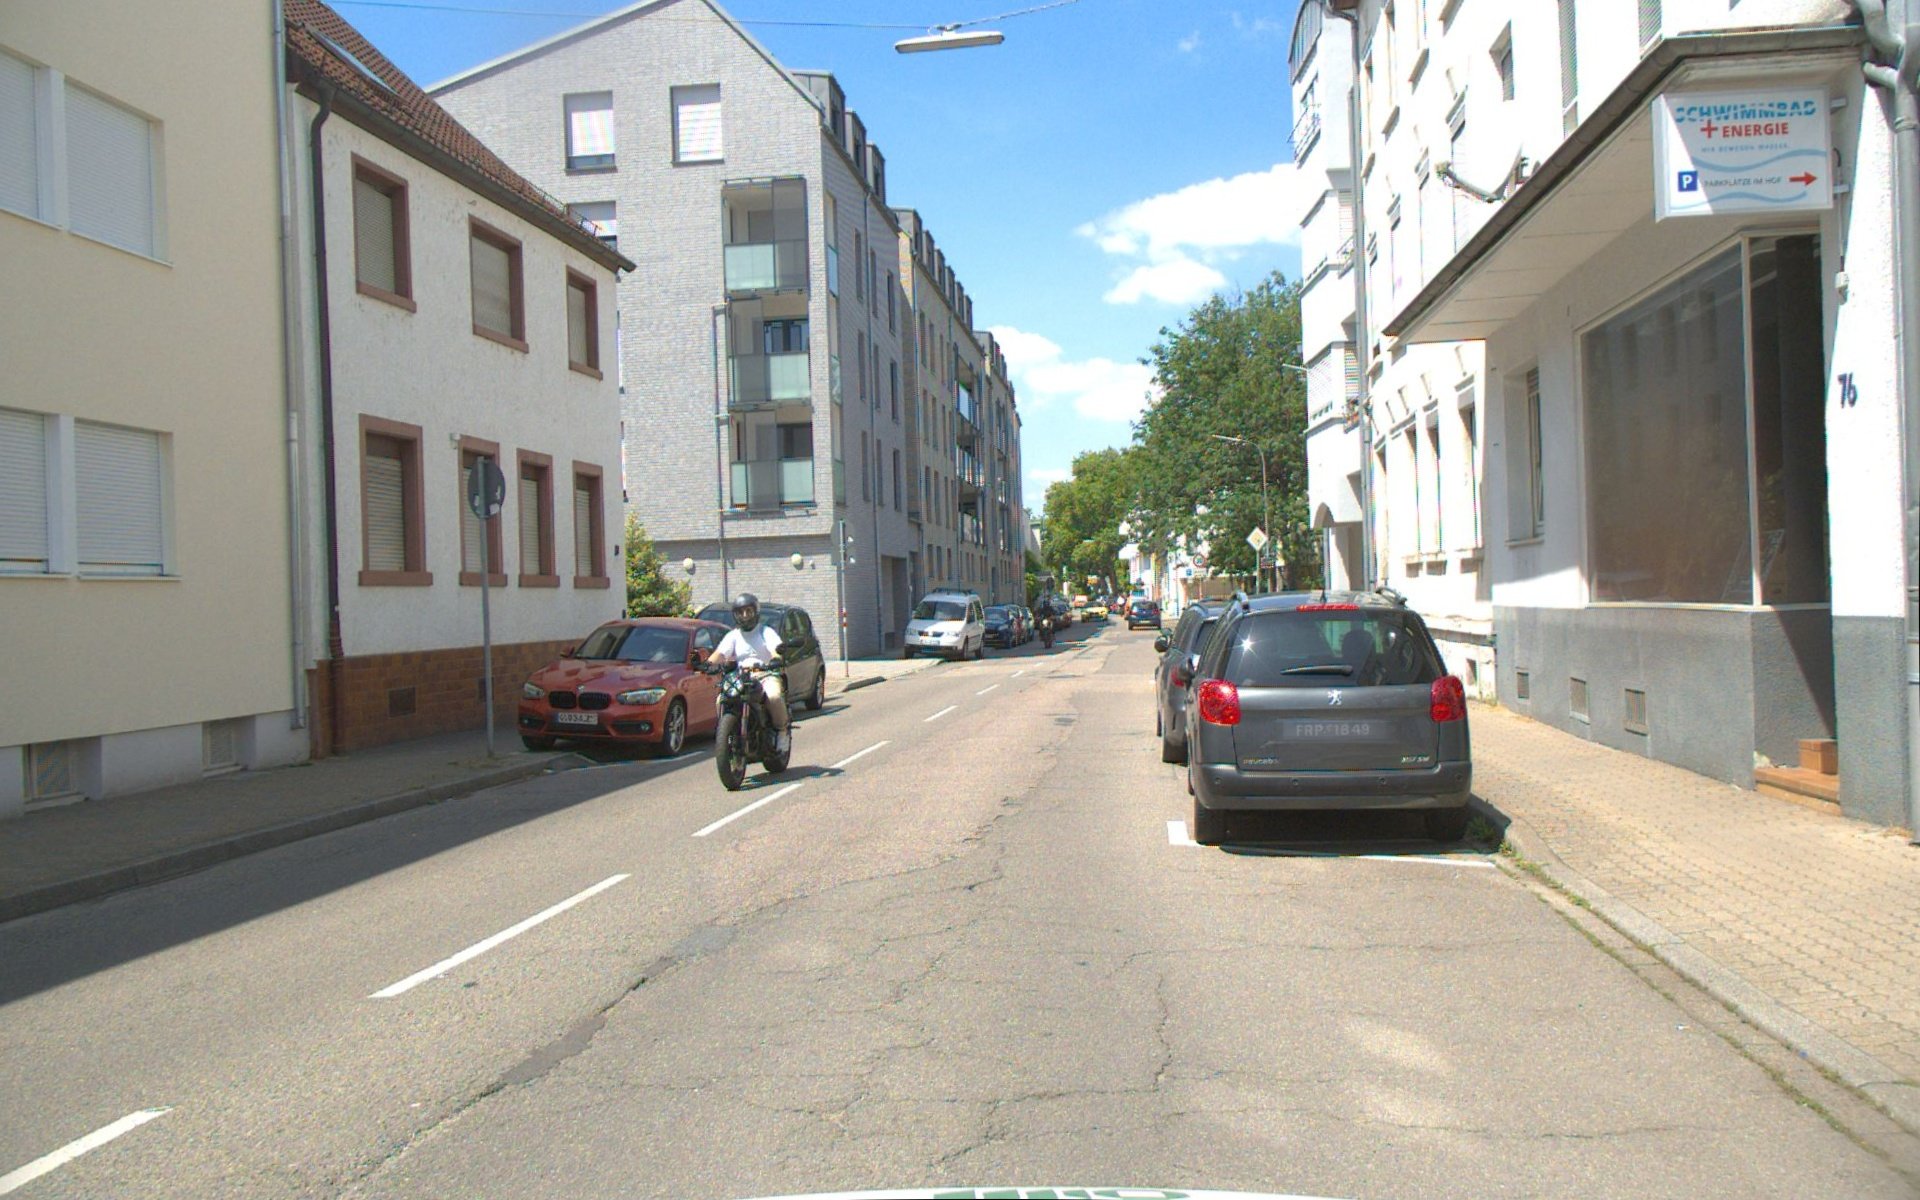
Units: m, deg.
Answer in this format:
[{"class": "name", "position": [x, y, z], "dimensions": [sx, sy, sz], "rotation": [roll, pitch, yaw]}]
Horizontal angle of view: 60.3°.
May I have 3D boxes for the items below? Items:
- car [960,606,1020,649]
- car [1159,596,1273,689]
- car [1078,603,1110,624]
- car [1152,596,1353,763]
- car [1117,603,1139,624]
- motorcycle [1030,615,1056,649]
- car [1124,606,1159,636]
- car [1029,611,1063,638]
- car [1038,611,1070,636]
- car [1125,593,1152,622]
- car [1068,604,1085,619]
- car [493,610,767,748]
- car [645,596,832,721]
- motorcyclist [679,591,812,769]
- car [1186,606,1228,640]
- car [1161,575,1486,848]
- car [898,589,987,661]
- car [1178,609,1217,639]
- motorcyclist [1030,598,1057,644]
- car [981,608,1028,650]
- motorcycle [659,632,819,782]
[{"class": "car", "position": [1.111, 0.988, 59.531], "dimensions": [1.686, 1.482, 4.008], "rotation": [0, 0, 8]}, {"class": "car", "position": [4.115, 0.659, 26.984], "dimensions": [1.584, 1.410, 3.540], "rotation": [-1, 0, 5]}, {"class": "car", "position": [9.512, 0.938, 117.494], "dimensions": [1.951, 1.405, 4.396], "rotation": [1, 0, 8]}, {"class": "car", "position": [2.811, 0.716, 16.717], "dimensions": [1.692, 1.445, 4.548], "rotation": [-1, -1, 6]}, {"class": "car", "position": [14.139, 1.130, 139.332], "dimensions": [1.675, 1.662, 3.706], "rotation": [-1, -1, 5]}, {"class": "motorcycle", "position": [2.856, 1.082, 56.748], "dimensions": [0.673, 1.142, 2.029], "rotation": [-1, -1, 8]}, {"class": "car", "position": [9.266, 1.071, 84.310], "dimensions": [1.679, 1.427, 4.003], "rotation": [-1, 0, 7]}, {"class": "car", "position": [4.932, 1.400, 94.579], "dimensions": [1.695, 1.467, 4.002], "rotation": [-1, -1, 6]}, {"class": "car", "position": [5.670, 1.403, 99.608], "dimensions": [1.695, 1.467, 4.002], "rotation": [-1, -1, 6]}, {"class": "car", "position": [12.690, 0.530, 117.530], "dimensions": [1.800, 2.049, 4.003], "rotation": [-1, 0, 7]}, {"class": "car", "position": [15.940, 1.603, 226.721], "dimensions": [2.112, 2.049, 4.000], "rotation": [-1, 0, 1]}, {"class": "car", "position": [-3.731, 0.855, 19.508], "dimensions": [1.794, 1.441, 4.293], "rotation": [-1, -1, 9]}, {"class": "car", "position": [-3.153, 0.801, 24.357], "dimensions": [1.756, 1.675, 3.948], "rotation": [0, 0, 7]}, {"class": "motorcyclist", "position": [-1.878, 0.680, 14.640], "dimensions": [0.896, 1.506, 1.204], "rotation": [-1, -1, 7]}, {"class": "car", "position": [11.411, 1.042, 76.561], "dimensions": [1.656, 1.445, 4.002], "rotation": [-3, -1, 5]}, {"class": "car", "position": [2.299, 0.656, 11.391], "dimensions": [1.673, 1.534, 4.002], "rotation": [-1, -1, 5]}, {"class": "car", "position": [-0.445, 0.684, 47.147], "dimensions": [1.719, 1.925, 4.340], "rotation": [1, 0, 10]}, {"class": "car", "position": [11.854, 1.205, 82.750], "dimensions": [1.741, 1.445, 4.002], "rotation": [-1, -1, 5]}, {"class": "motorcyclist", "position": [2.863, 0.714, 56.755], "dimensions": [0.805, 1.535, 1.057], "rotation": [-1, -1, 8]}, {"class": "car", "position": [1.770, 1.110, 64.820], "dimensions": [1.557, 1.581, 3.573], "rotation": [0, -1, 6]}, {"class": "motorcycle", "position": [-1.900, 0.897, 14.627], "dimensions": [0.877, 1.196, 2.209], "rotation": [-1, 0, 7]}]
